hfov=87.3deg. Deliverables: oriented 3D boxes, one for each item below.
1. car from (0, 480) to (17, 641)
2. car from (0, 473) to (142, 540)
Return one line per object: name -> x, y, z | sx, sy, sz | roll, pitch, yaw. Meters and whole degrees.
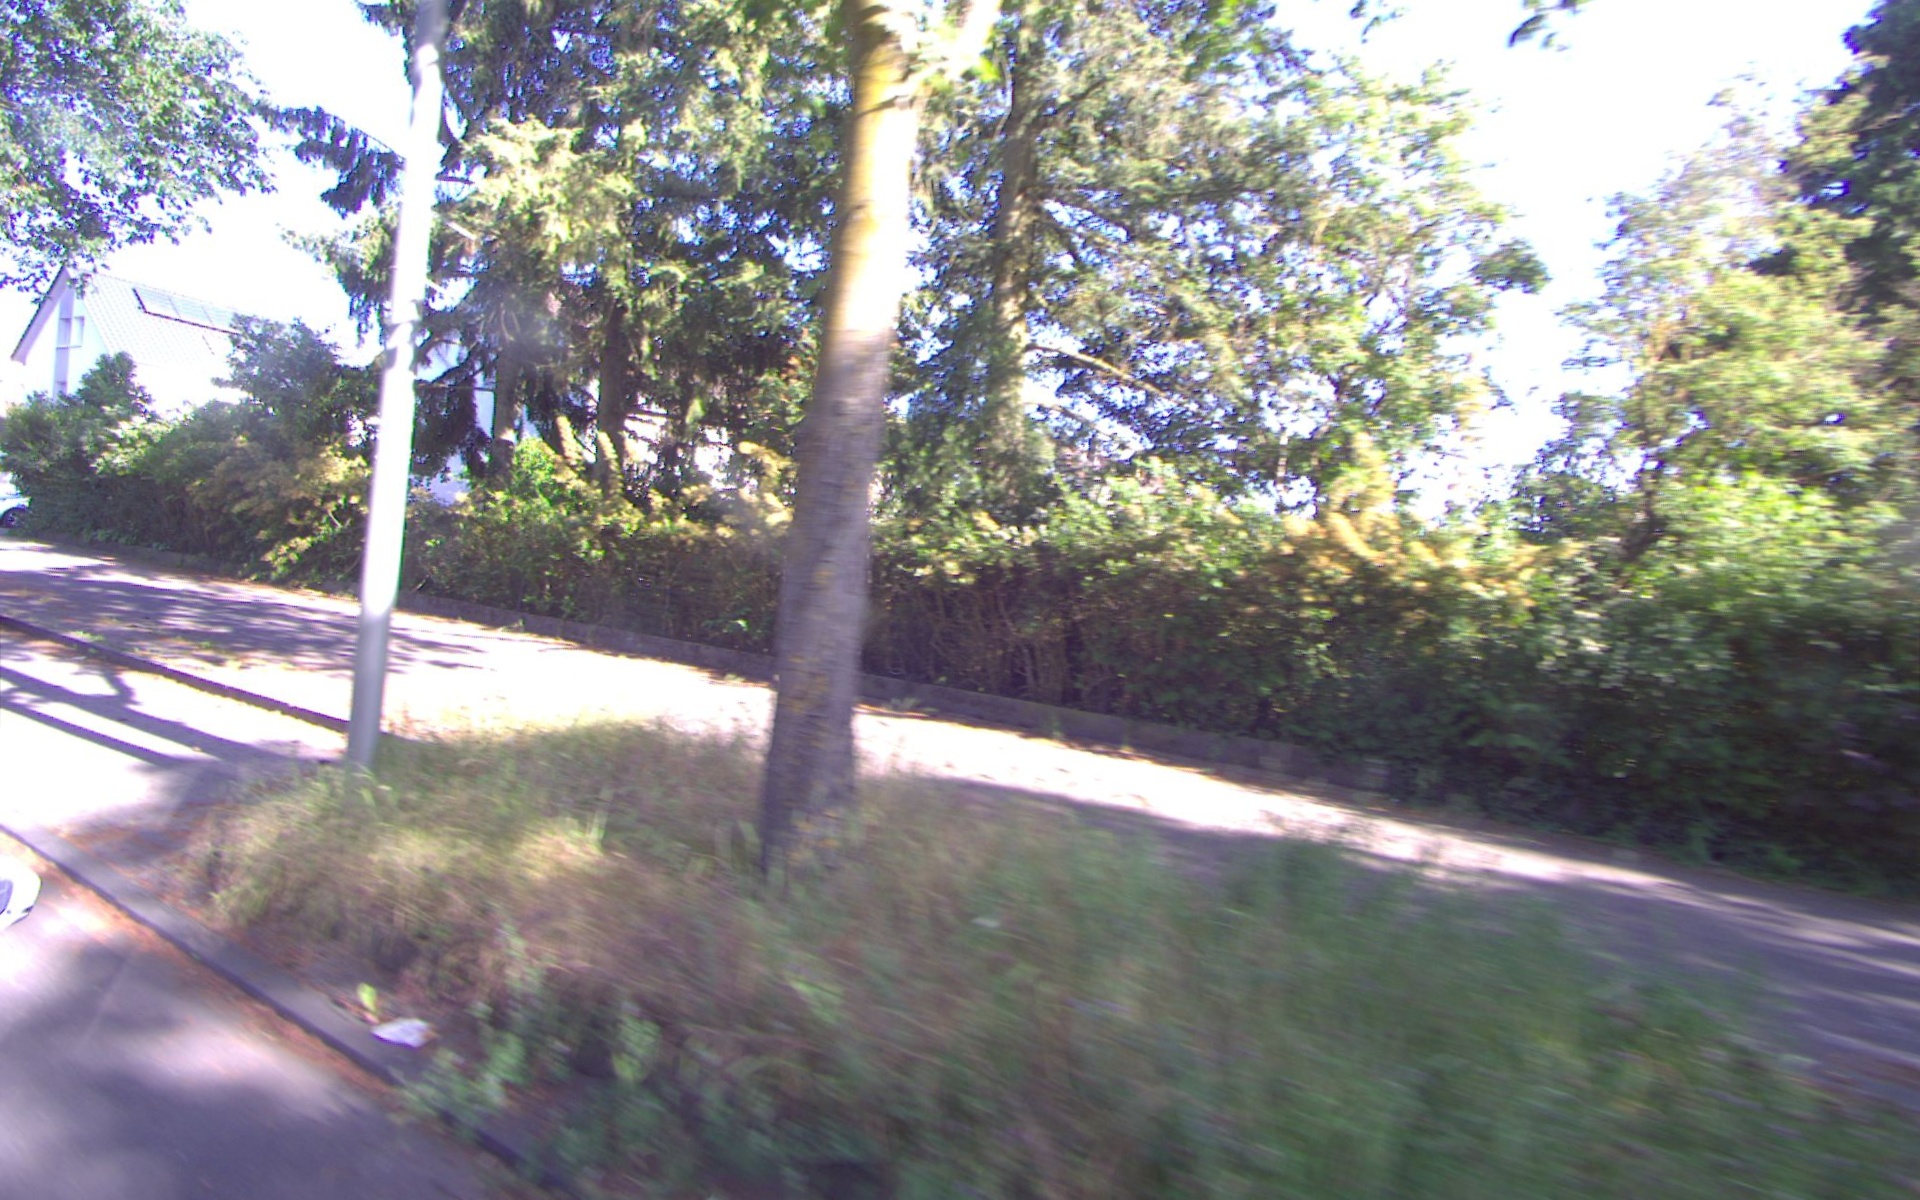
car -> -11.186, -0.563, 10.048 | 3.941, 1.530, 1.991 | 6, 1, 38
car -> -28.379, -2.945, 31.378 | 1.745, 1.661, 3.995 | 7, 1, 25
